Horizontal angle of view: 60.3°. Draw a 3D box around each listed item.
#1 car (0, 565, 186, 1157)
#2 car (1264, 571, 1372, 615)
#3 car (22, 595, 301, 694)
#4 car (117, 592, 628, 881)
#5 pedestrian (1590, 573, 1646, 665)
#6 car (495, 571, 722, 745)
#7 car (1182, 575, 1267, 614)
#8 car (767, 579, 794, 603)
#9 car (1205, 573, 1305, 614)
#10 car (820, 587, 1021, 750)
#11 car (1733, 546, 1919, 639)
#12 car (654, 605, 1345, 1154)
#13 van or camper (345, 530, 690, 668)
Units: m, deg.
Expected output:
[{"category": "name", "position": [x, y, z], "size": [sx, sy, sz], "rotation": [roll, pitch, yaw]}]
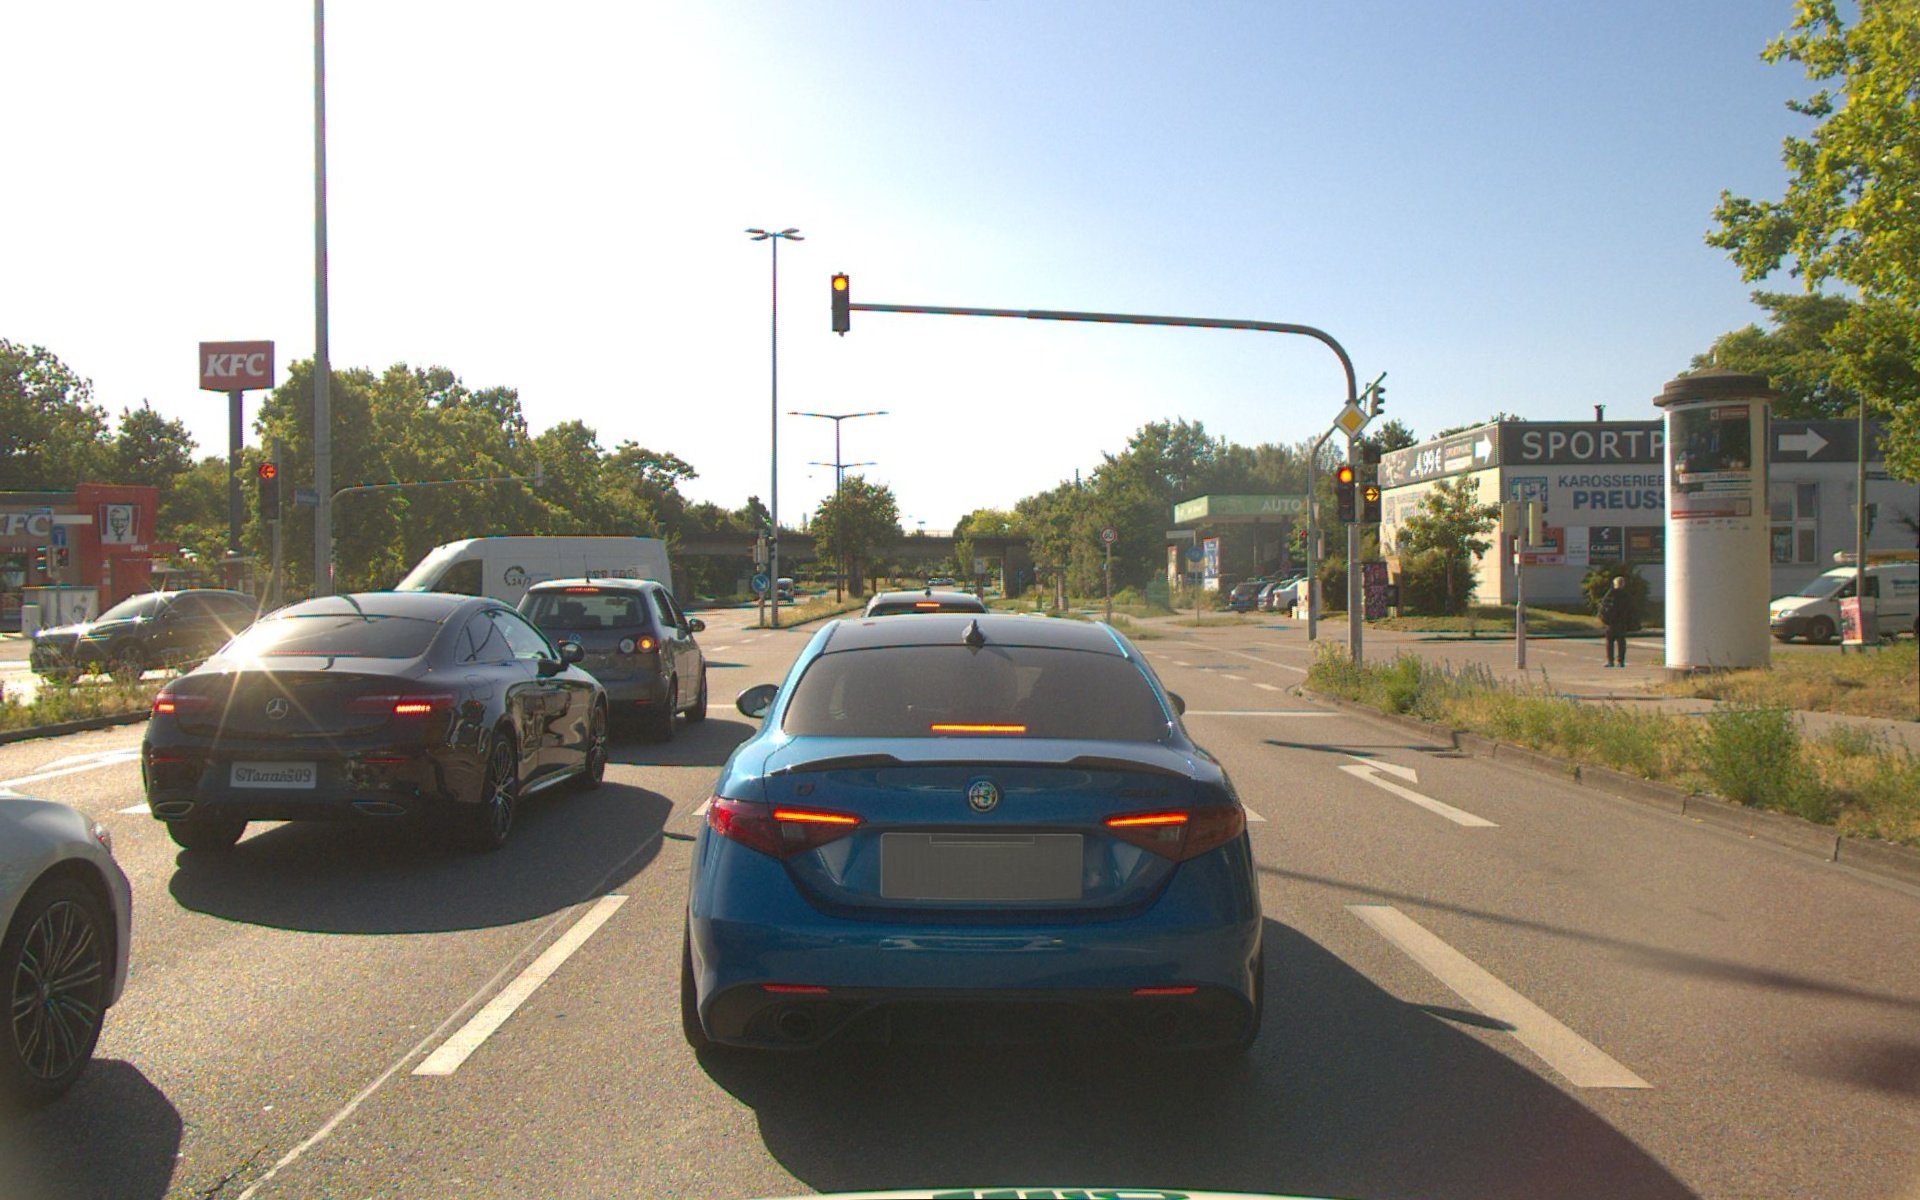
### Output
[{"category": "car", "position": [-3.342, 0.688, 3.102], "size": [1.732, 1.535, 4.460], "rotation": [0, 0, -1]}, {"category": "car", "position": [14.353, -0.278, 66.328], "size": [3.923, 1.736, 1.687], "rotation": [0, 0, -17]}, {"category": "car", "position": [-14.953, 0.769, 31.255], "size": [1.953, 1.682, 4.612], "rotation": [0, 0, 23]}, {"category": "car", "position": [-3.407, 0.675, 10.575], "size": [1.732, 1.439, 4.460], "rotation": [0, 0, -1]}, {"category": "pedestrian", "position": [12.726, 0.358, 32.017], "size": [0.805, 1.752, 0.854], "rotation": [0, 0, 6]}, {"category": "car", "position": [-3.577, 0.529, 17.479], "size": [1.615, 1.626, 3.931], "rotation": [0, 0, -1]}, {"category": "car", "position": [11.885, -0.261, 74.337], "size": [3.428, 1.736, 1.688], "rotation": [0, 0, -16]}, {"category": "car", "position": [-18.938, -0.968, 174.434], "size": [2.383, 2.469, 5.828], "rotation": [0, 0, -2]}, {"category": "car", "position": [12.680, -0.267, 71.158], "size": [3.928, 1.736, 1.686], "rotation": [0, 0, -20]}, {"category": "car", "position": [-0.385, 0.613, 17.060], "size": [1.828, 1.475, 3.931], "rotation": [0, 0, -1]}, {"category": "car", "position": [21.409, -0.192, 40.231], "size": [4.318, 2.183, 1.998], "rotation": [0, 0, -4]}, {"category": "car", "position": [0.080, 0.752, 6.358], "size": [1.828, 1.409, 3.931], "rotation": [0, 0, -1]}, {"category": "van or camper", "position": [-9.066, -0.046, 34.377], "size": [6.690, 2.617, 2.154], "rotation": [0, 0, -40]}]
